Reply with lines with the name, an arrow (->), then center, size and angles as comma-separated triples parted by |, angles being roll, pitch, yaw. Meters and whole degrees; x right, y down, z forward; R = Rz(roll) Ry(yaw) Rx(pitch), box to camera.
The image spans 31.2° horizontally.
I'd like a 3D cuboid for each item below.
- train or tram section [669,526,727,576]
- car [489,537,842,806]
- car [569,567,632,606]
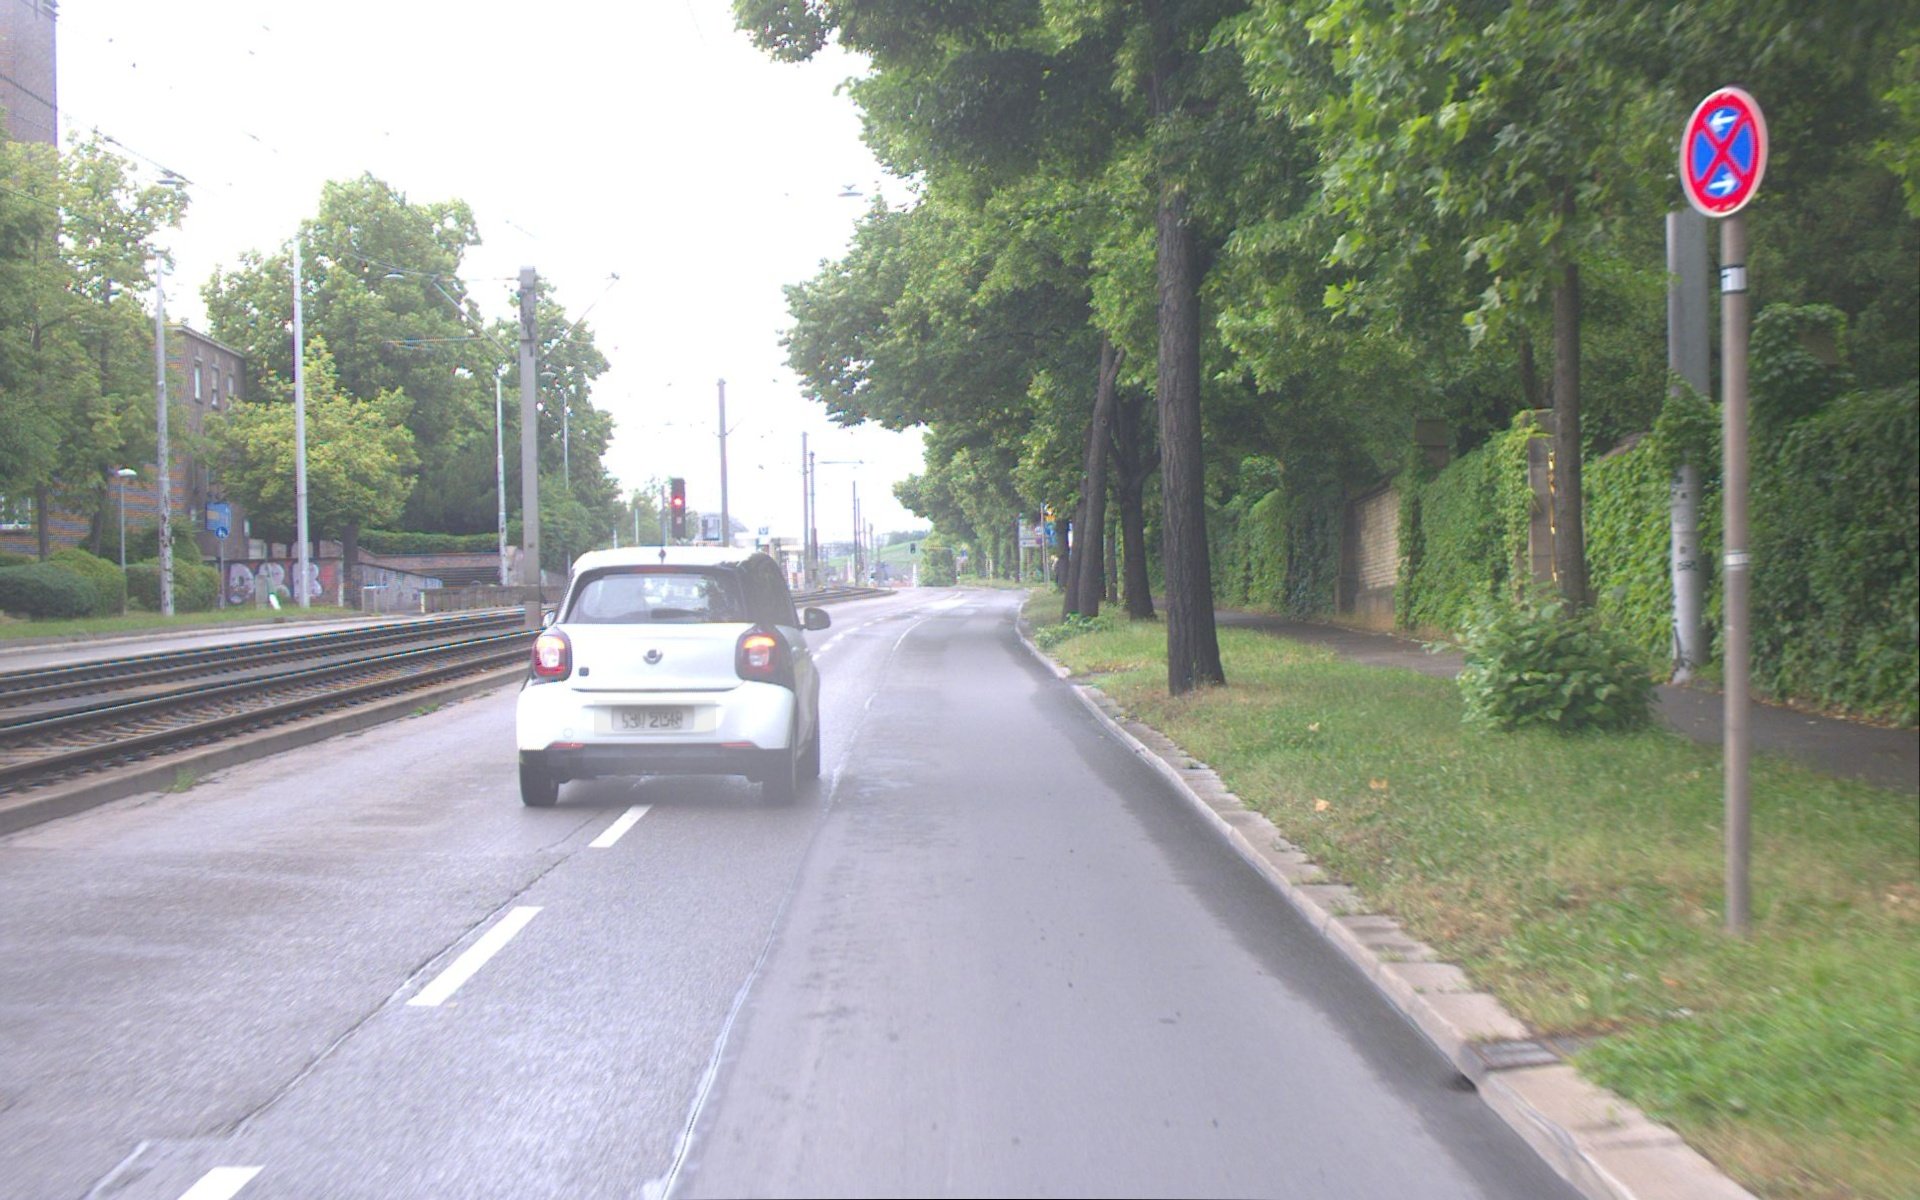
train or tram section -> -19.141, -3.583, 250.894 | 2.831, 3.593, 9.273 | 0, 1, -13
car -> -1.757, 0.375, 21.594 | 1.676, 1.525, 3.721 | 1, 1, 3
car -> -15.841, -0.612, 151.736 | 2.013, 1.650, 4.616 | -1, 1, 4
